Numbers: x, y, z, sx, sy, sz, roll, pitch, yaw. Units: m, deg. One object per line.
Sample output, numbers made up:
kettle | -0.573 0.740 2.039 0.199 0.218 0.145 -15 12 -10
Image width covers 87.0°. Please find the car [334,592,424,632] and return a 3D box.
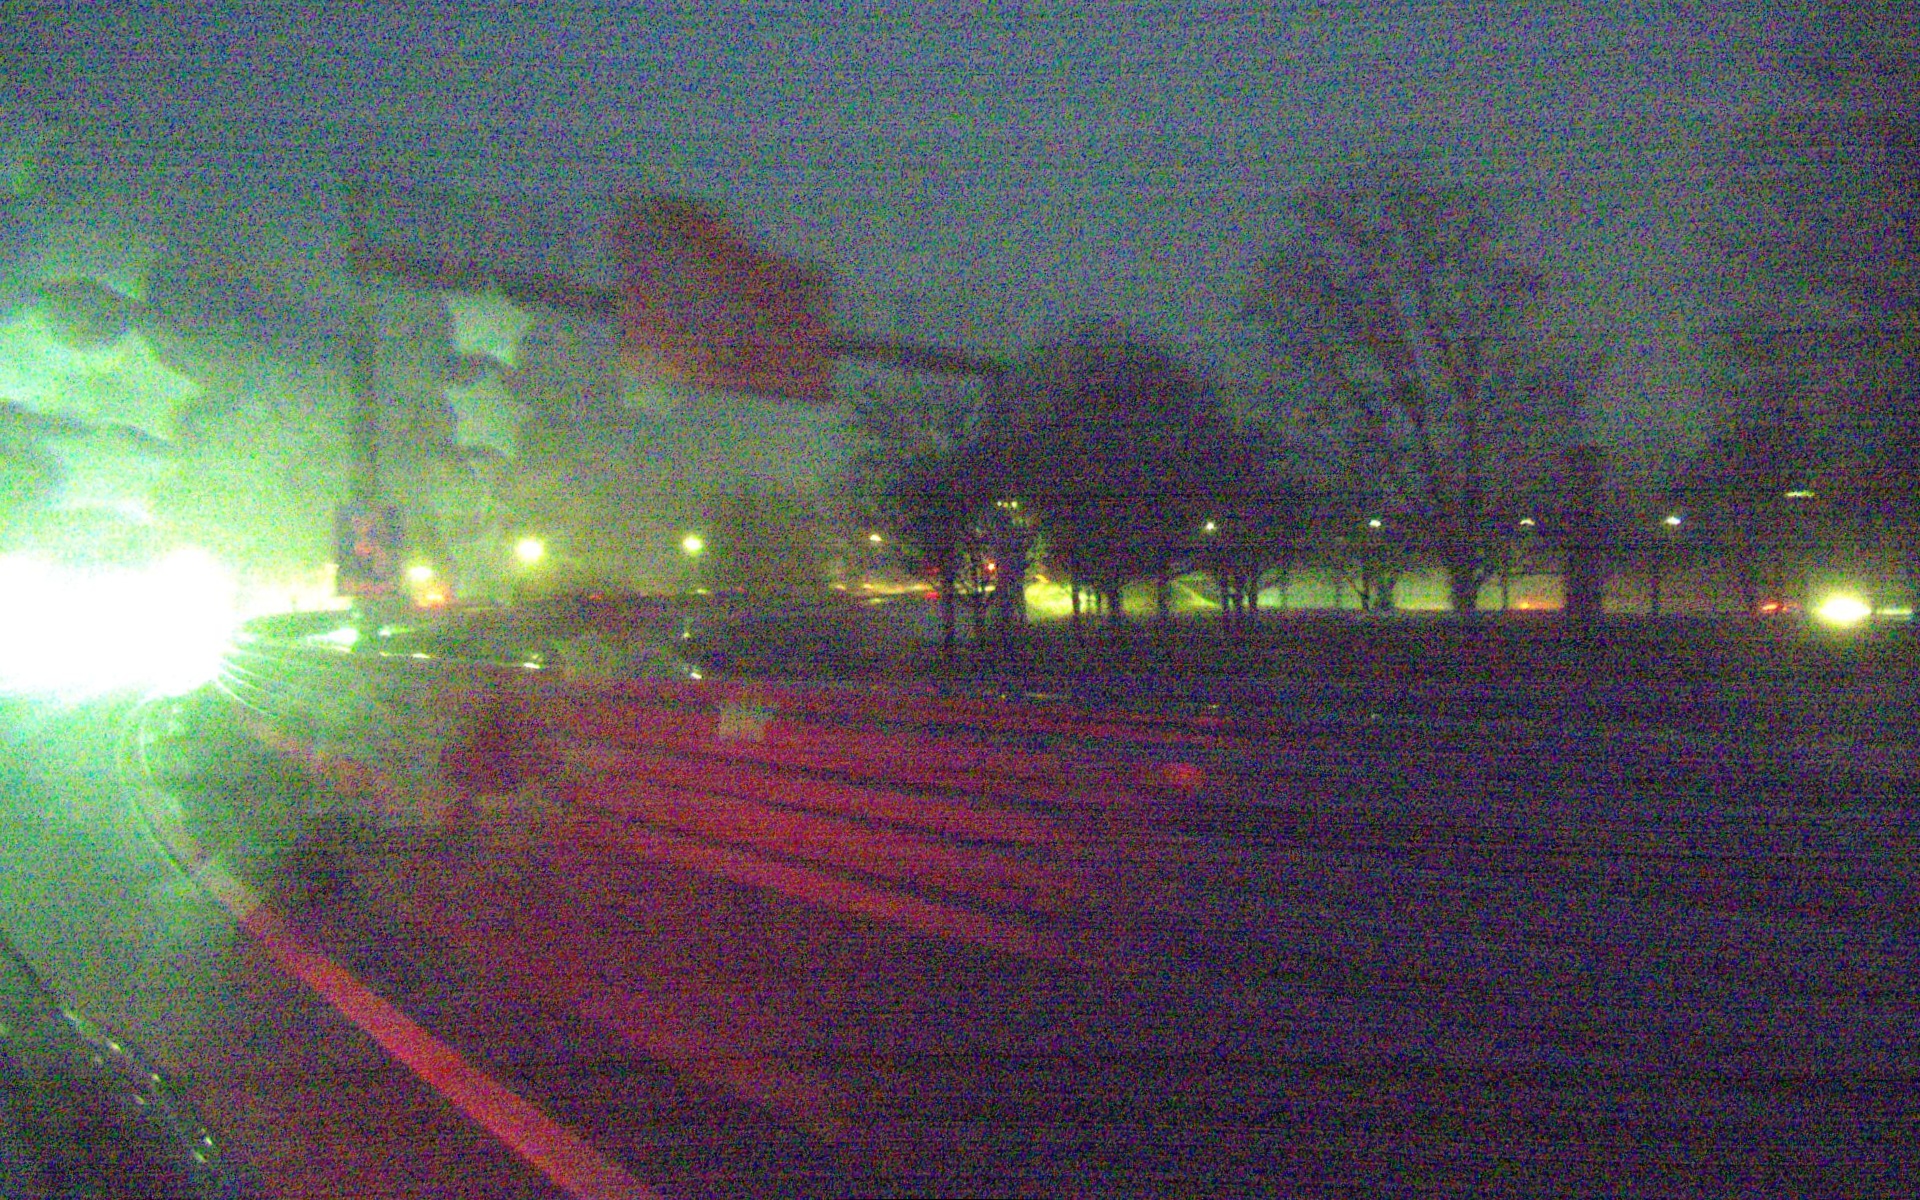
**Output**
car | -27.714 0.554 48.455 1.972 1.761 4.101 -2 1 -1
